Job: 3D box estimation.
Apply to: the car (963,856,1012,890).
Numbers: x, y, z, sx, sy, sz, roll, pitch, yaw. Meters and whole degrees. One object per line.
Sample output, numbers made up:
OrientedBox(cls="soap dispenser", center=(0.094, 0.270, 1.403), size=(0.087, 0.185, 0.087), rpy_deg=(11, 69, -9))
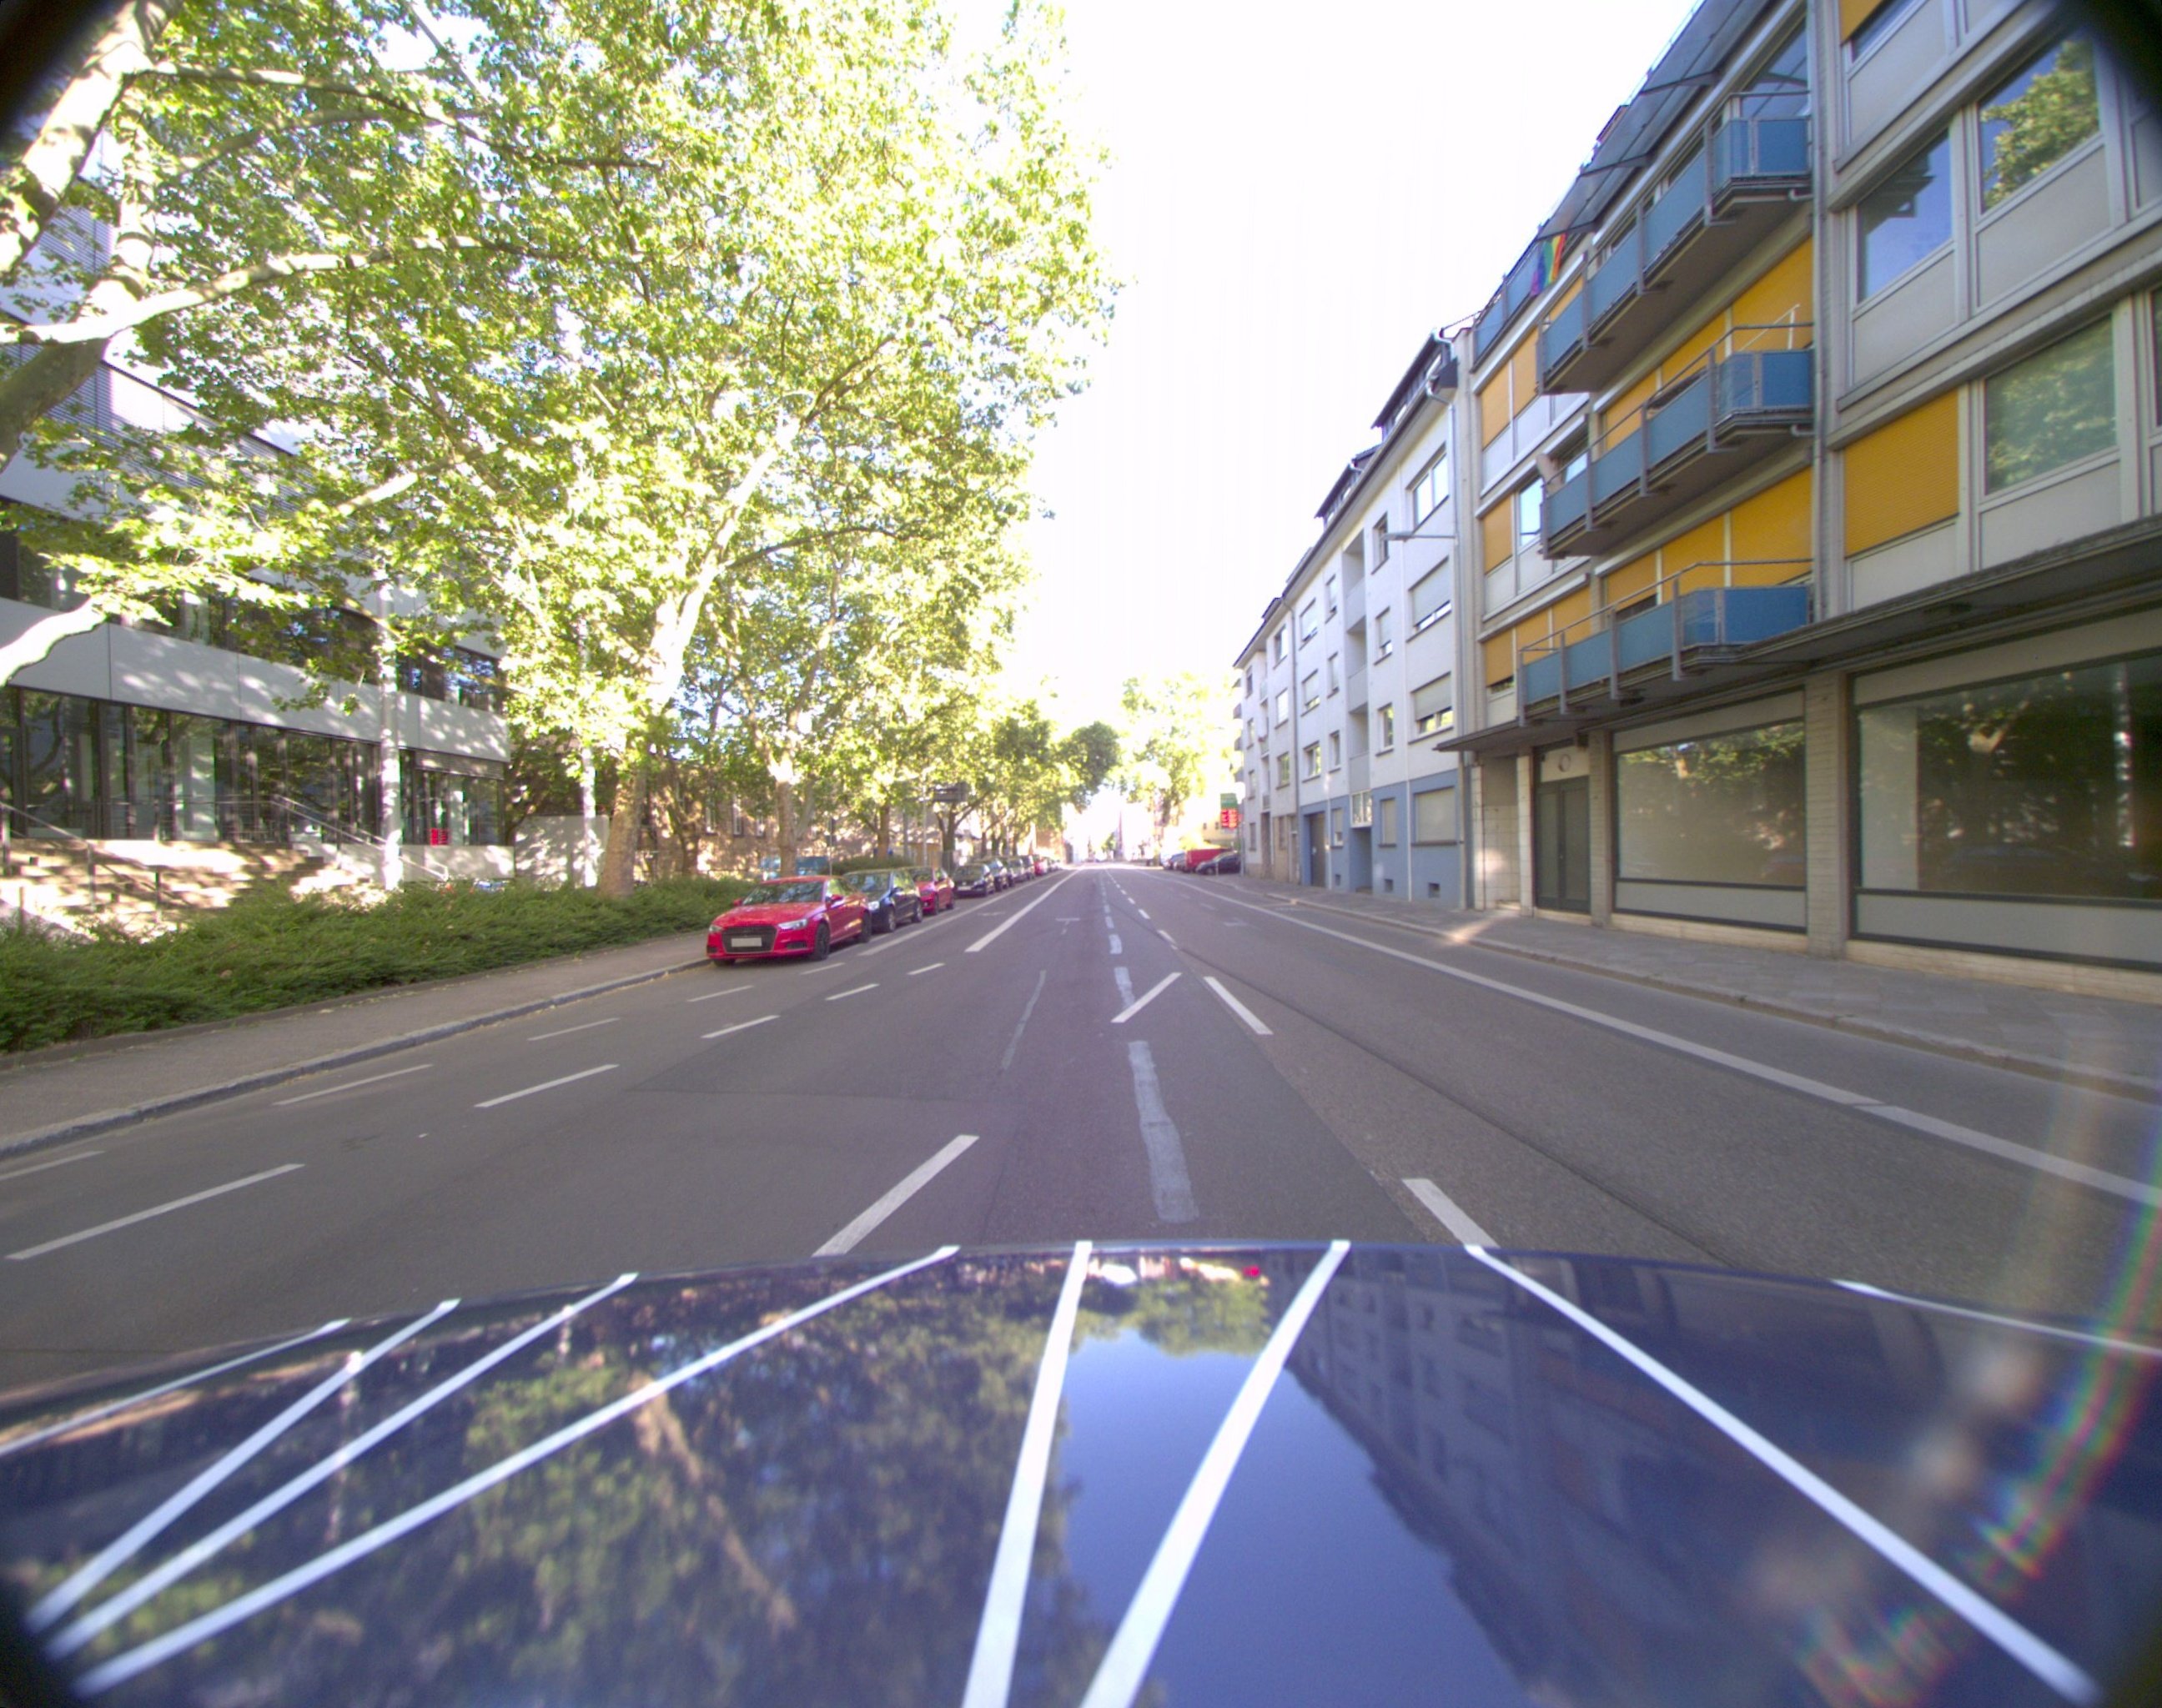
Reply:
OrientedBox(cls="car", center=(-4.626, 0.918, 38.208), size=(1.848, 1.572, 4.232), rpy_deg=(-2, 0, 1))

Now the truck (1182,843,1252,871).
OrientedBox(cls="truck", center=(10.724, 0.230, 60.095), size=(5.088, 2.009, 2.000), rpy_deg=(-2, 1, 0))

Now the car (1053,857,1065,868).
OrientedBox(cls="car", center=(-2.631, 1.024, 92.314), size=(1.300, 1.220, 3.241), rpy_deg=(-1, 0, 0))

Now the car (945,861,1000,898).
OrientedBox(cls="car", center=(-4.680, 1.080, 33.262), size=(1.745, 1.430, 4.000), rpy_deg=(-1, 0, 1))

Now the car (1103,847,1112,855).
OrientedBox(cls="car", center=(6.760, -0.806, 193.460), size=(1.998, 2.002, 3.999), rpy_deg=(-2, 1, 1))

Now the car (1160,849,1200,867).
OrientedBox(cls="car", center=(9.876, 0.373, 75.909), size=(3.658, 1.578, 1.659), rpy_deg=(-2, 1, -5))

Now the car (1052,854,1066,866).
OrientedBox(cls="car", center=(-2.956, 0.811, 102.832), size=(1.707, 1.459, 3.809), rpy_deg=(-1, 0, 0))

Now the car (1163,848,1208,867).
OrientedBox(cls="car", center=(10.076, 0.331, 73.360), size=(3.998, 1.618, 1.702), rpy_deg=(-2, 1, -5))

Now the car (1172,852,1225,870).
OrientedBox(cls="car", center=(9.659, 0.572, 62.819), size=(4.033, 1.265, 1.906), rpy_deg=(-2, 1, -1))

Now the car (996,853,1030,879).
OrientedBox(cls="car", center=(-4.444, 0.736, 50.452), size=(1.798, 1.608, 4.075), rpy_deg=(-1, 0, 1))

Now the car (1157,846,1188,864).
OrientedBox(cls="car", center=(10.227, 0.099, 85.265), size=(3.267, 1.927, 1.693), rpy_deg=(-2, 1, 2))

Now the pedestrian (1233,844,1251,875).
OrientedBox(cls="pedestrian", center=(9.615, 0.318, 45.464), size=(0.896, 1.761, 0.741), rpy_deg=(-2, 1, 1))

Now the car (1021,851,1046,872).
OrientedBox(cls="car", center=(-4.111, 0.612, 66.179), size=(1.876, 1.685, 4.166), rpy_deg=(-1, 0, 1))

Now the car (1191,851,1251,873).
OrientedBox(cls="car", center=(10.065, 0.539, 54.814), size=(3.997, 1.385, 1.781), rpy_deg=(-2, 1, -1))

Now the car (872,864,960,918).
OrientedBox(cls="car", center=(-5.034, 1.096, 23.744), size=(1.790, 1.429, 4.000), rpy_deg=(-1, 0, 1))

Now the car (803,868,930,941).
OrientedBox(cls="car", center=(-5.034, 1.125, 18.451), size=(1.813, 1.449, 4.000), rpy_deg=(-1, 0, 2))

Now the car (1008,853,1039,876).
OrientedBox(cls="car", center=(-4.172, 0.747, 55.509), size=(1.831, 1.608, 4.177), rpy_deg=(-1, 0, 1))

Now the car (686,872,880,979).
OrientedBox(cls="car", center=(-5.093, 1.141, 13.660), size=(1.775, 1.416, 4.173), rpy_deg=(-3, 0, 0))

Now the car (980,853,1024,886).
OrientedBox(cls="car", center=(-4.548, 0.865, 44.191), size=(1.998, 1.715, 4.262), rpy_deg=(-2, 1, 1))

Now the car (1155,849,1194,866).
OrientedBox(cls="car", center=(9.612, 0.370, 78.567), size=(3.703, 1.573, 1.718), rpy_deg=(-2, 1, -5))

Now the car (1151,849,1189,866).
OrientedBox(cls="car", center=(9.482, 0.366, 80.859), size=(3.728, 1.579, 1.743), rpy_deg=(-2, 1, -5))
